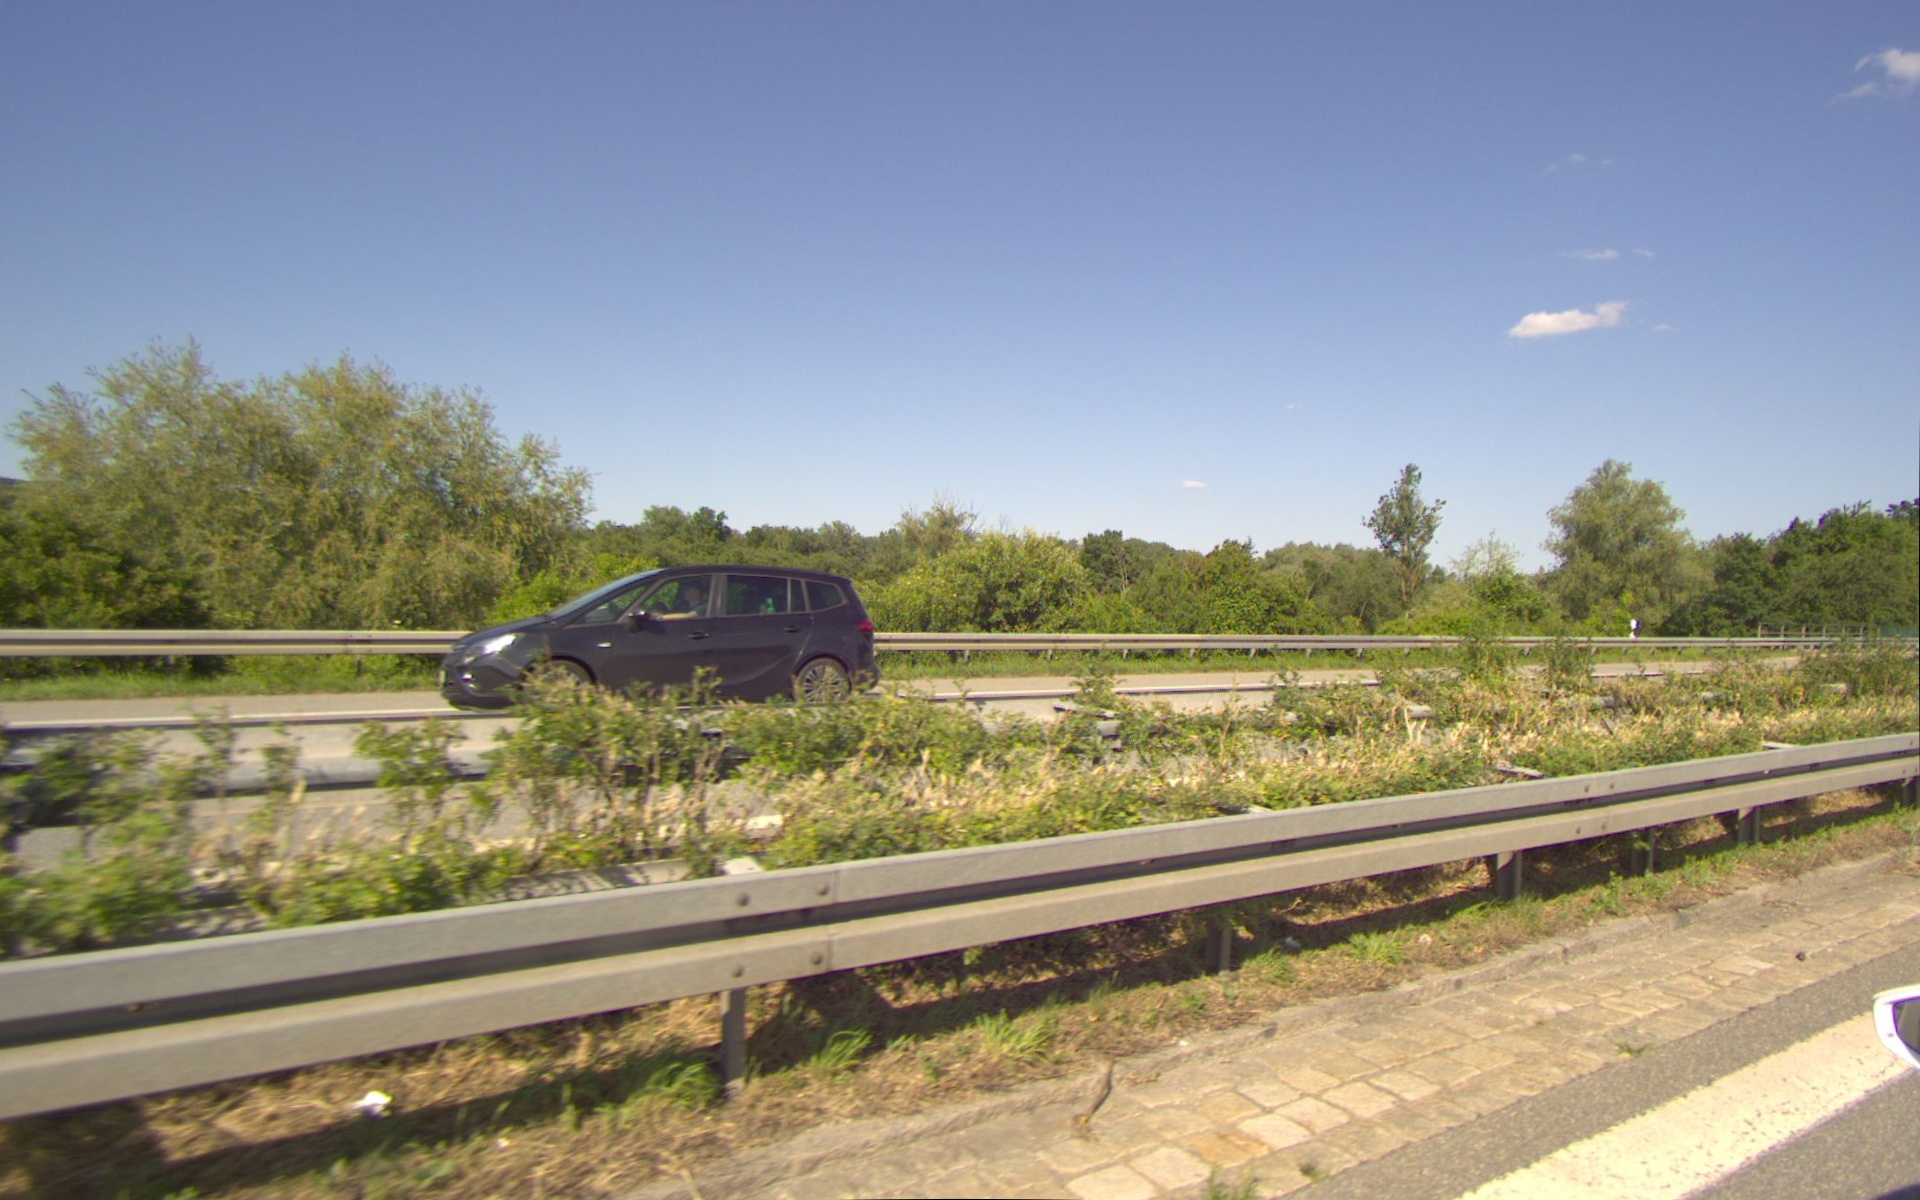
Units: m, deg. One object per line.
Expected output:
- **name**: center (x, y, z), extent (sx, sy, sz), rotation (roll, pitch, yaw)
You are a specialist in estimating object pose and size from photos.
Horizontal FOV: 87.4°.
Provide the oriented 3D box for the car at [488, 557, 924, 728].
- **car**: center (-2.782, 0.451, 11.257), extent (4.369, 1.575, 1.983), rotation (1, -1, -31)
